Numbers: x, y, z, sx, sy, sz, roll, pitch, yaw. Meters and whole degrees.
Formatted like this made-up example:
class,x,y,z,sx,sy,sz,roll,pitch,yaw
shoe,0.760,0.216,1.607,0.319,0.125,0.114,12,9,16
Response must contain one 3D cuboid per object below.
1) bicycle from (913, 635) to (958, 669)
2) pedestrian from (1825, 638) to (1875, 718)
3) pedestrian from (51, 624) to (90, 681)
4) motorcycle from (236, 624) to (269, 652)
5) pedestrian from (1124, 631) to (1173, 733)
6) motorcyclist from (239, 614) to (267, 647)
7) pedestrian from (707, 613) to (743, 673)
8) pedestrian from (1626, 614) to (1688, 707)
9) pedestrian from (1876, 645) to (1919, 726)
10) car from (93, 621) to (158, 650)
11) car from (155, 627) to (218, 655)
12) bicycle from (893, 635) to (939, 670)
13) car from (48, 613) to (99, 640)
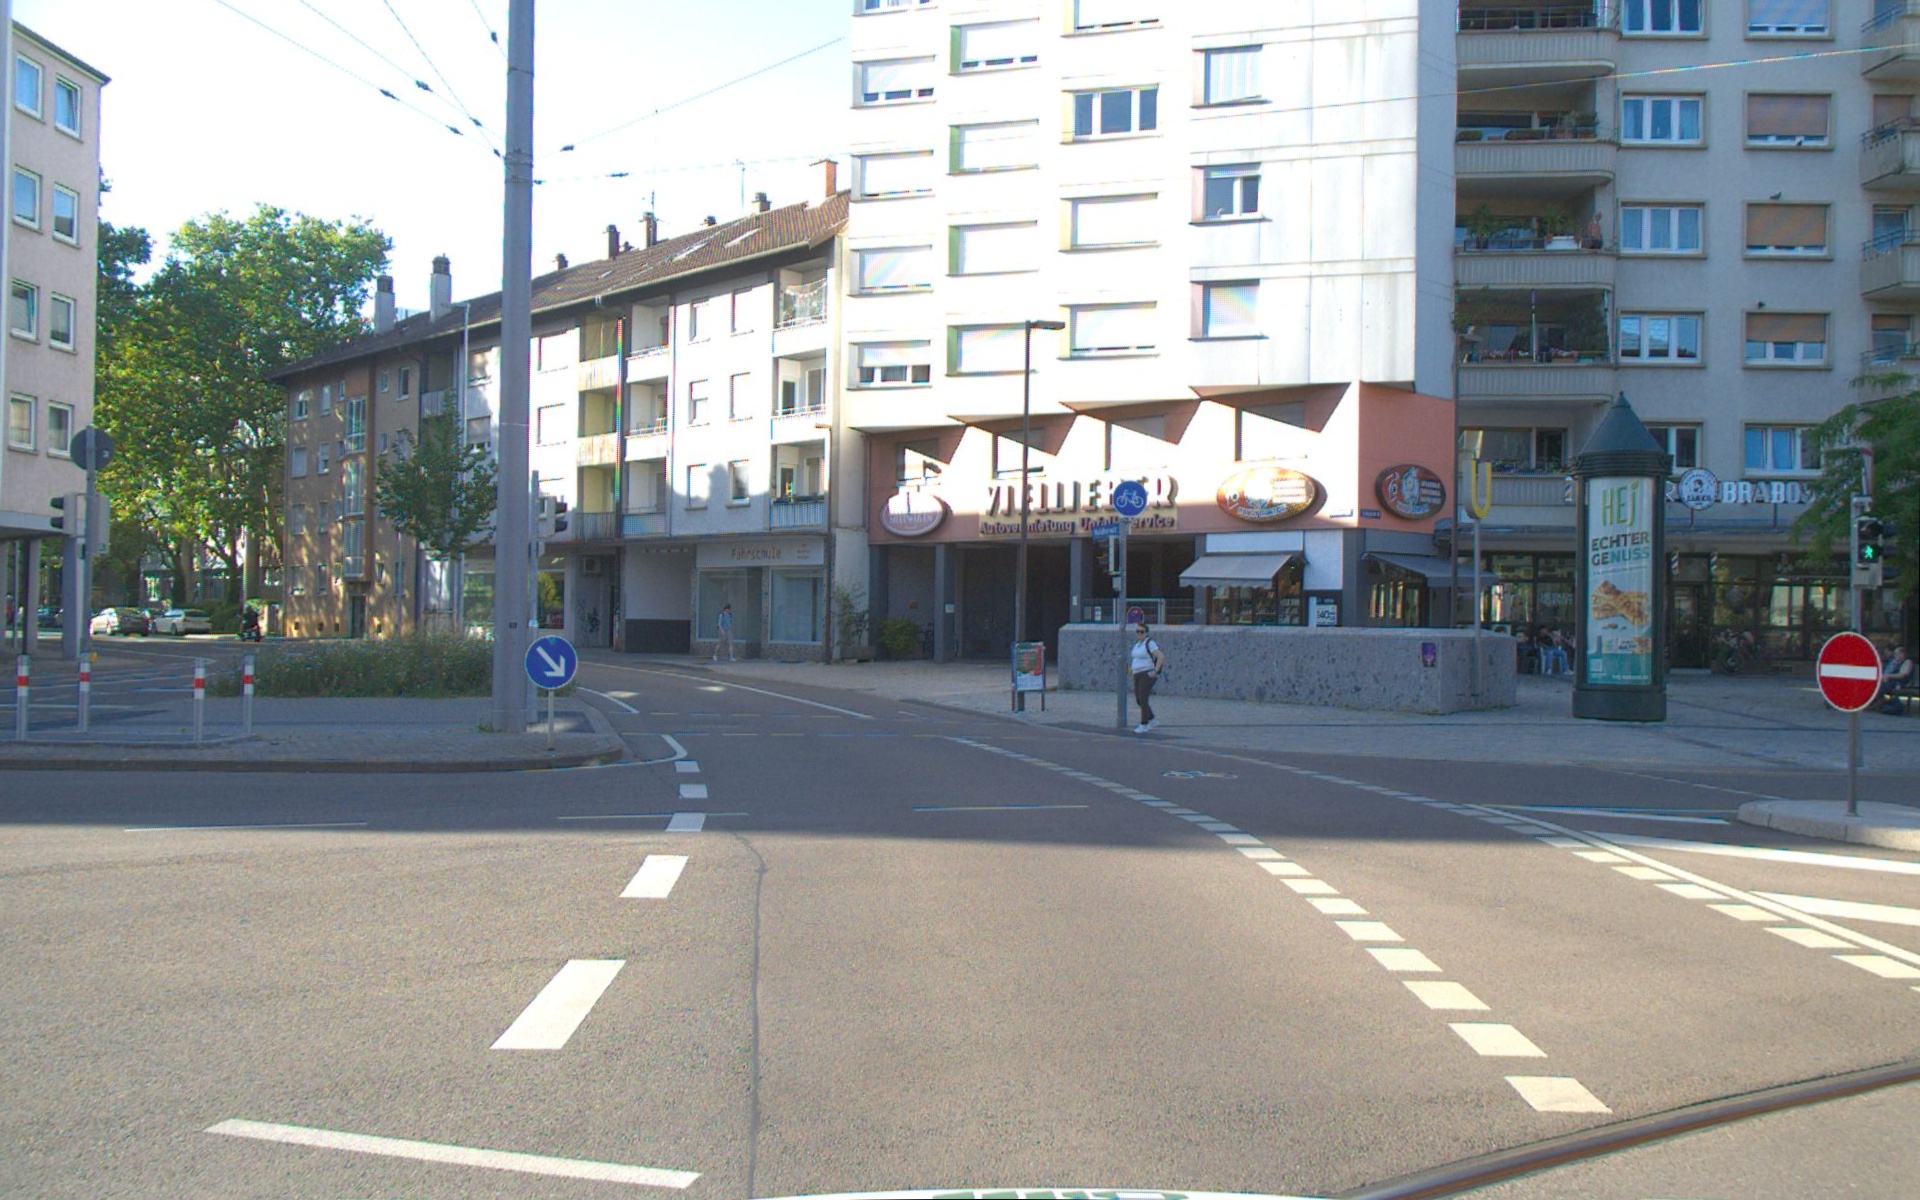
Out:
class,x,y,z,sx,sy,sz,roll,pitch,yaw
bicycle,-0.787,1.661,52.804,0.492,1.057,1.612,2,-1,-43
pedestrian,16.896,1.459,31.404,0.707,1.471,0.925,0,-1,37
pedestrian,-27.564,1.624,51.253,0.763,1.754,0.802,-1,-2,43
motorcycle,-30.258,1.622,70.771,0.958,1.151,2.791,2,-1,-17
pedestrian,3.011,1.298,26.389,0.536,1.611,0.549,2,-2,-42
motorcyclist,-30.259,1.297,70.808,0.955,1.371,1.132,2,-1,-18
pedestrian,-7.556,1.367,53.146,0.728,1.887,0.933,-1,0,-44
pedestrian,14.488,1.243,34.383,1.020,1.899,0.688,0,-1,4
pedestrian,17.337,1.563,30.519,0.706,1.445,0.926,0,-1,33
car,-42.934,1.806,85.066,1.915,1.413,3.935,2,-1,-44
car,-43.433,2.293,92.818,2.023,1.531,4.028,1,-1,-43
bicycle,-1.399,1.654,52.135,0.492,1.057,1.612,2,-1,-43
car,-59.055,1.783,110.185,2.023,1.749,4.028,1,-1,-43
